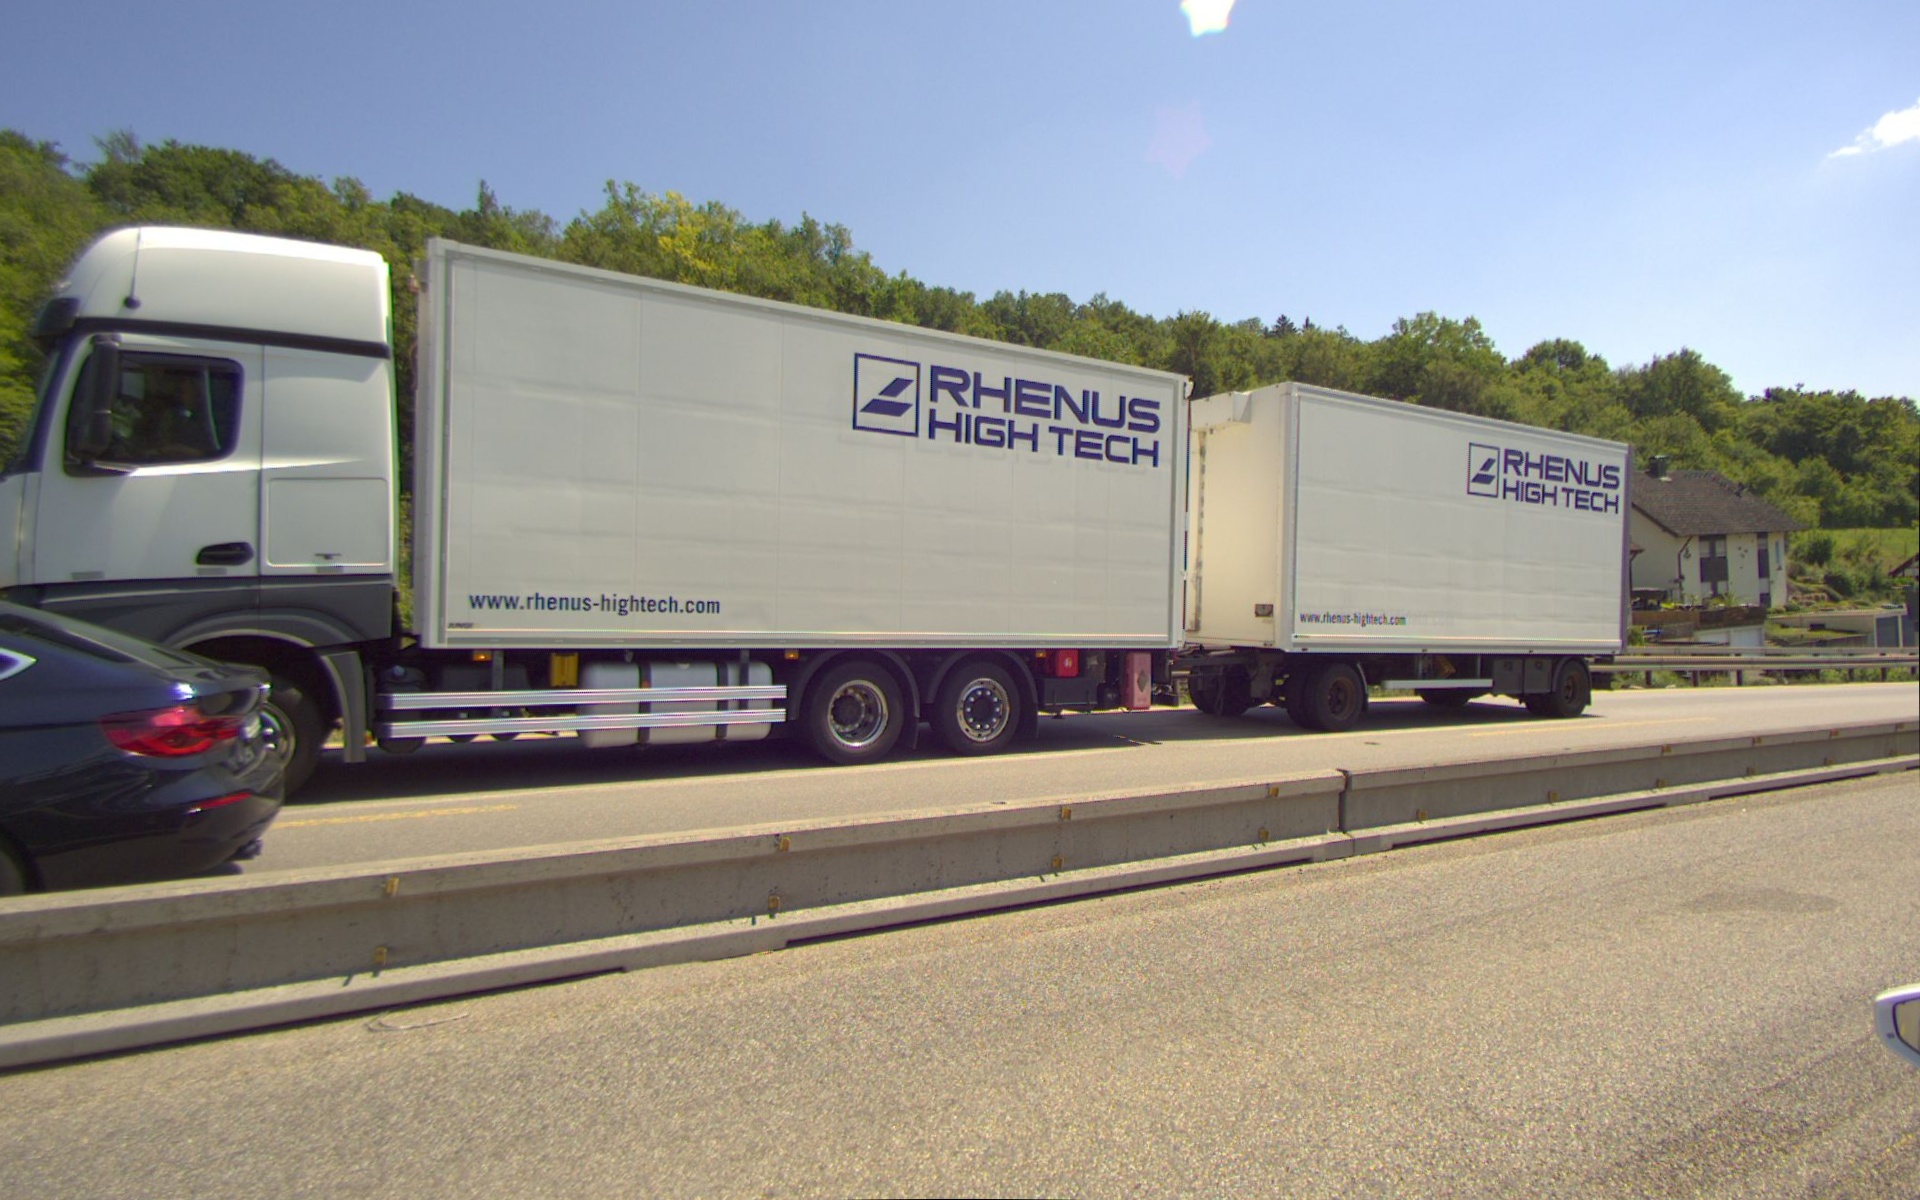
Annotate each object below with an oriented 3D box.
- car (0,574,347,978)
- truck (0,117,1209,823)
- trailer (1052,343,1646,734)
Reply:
[{"bbox_3d":[-5.097,0.627,3.864,4.565,1.498,1.774,1,0,-29],"label":"car"},{"bbox_3d":[-2.573,-0.712,9.527,10.418,4.218,2.964,1,0,-30],"label":"truck"},{"bbox_3d":[5.844,-0.578,14.390,8.910,4.221,2.990,1,0,-30],"label":"trailer"}]
